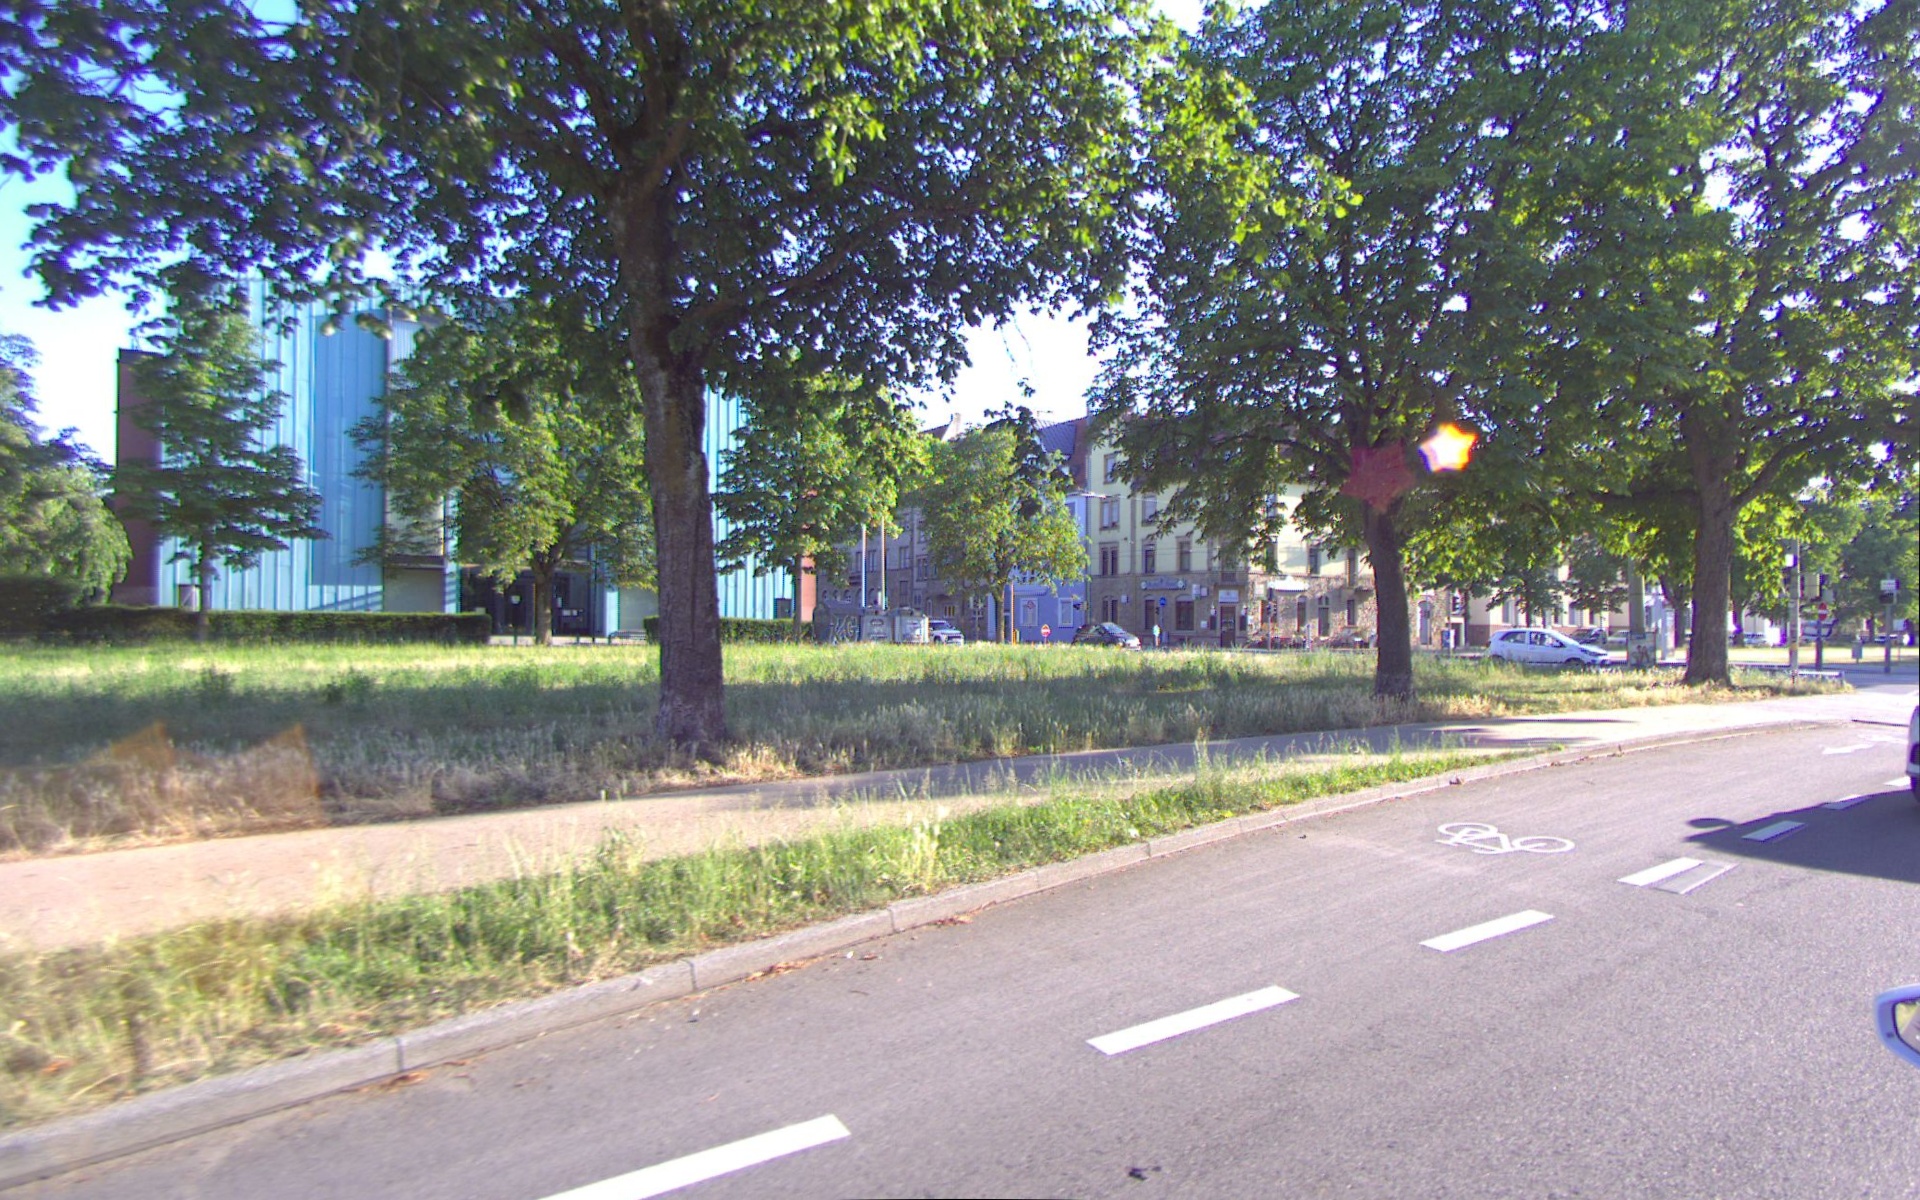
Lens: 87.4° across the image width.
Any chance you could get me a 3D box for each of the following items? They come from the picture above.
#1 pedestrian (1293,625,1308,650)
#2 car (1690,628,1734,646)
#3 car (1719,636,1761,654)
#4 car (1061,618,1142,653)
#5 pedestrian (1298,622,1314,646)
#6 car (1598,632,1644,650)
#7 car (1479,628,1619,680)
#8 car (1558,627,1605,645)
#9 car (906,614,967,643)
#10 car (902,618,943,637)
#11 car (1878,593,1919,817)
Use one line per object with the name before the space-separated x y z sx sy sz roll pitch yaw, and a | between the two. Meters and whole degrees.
pedestrian | 22.946 2.510 67.709 0.716 1.664 0.811 0 -1 44
car | 63.363 3.111 84.648 3.750 1.446 1.729 1 -1 -32
car | 68.341 3.939 87.959 3.749 1.446 1.729 0 0 -32
car | 6.693 1.644 47.727 1.601 1.518 3.560 1 0 -44
pedestrian | 23.603 2.312 68.523 0.716 1.664 0.811 1 -1 -24
car | 57.833 3.560 87.897 3.742 1.446 1.732 0 0 -26
car | 19.395 1.741 33.177 1.729 1.508 3.651 2 -1 -43
car | 52.488 2.996 84.817 3.742 1.416 1.732 0 0 -26
car | -1.394 1.661 58.851 1.597 1.572 3.835 2 -1 -37
car | -3.379 2.444 89.674 2.075 1.612 4.012 3 -2 -29
car | 9.509 0.852 8.152 4.375 1.699 1.881 1 0 -31
